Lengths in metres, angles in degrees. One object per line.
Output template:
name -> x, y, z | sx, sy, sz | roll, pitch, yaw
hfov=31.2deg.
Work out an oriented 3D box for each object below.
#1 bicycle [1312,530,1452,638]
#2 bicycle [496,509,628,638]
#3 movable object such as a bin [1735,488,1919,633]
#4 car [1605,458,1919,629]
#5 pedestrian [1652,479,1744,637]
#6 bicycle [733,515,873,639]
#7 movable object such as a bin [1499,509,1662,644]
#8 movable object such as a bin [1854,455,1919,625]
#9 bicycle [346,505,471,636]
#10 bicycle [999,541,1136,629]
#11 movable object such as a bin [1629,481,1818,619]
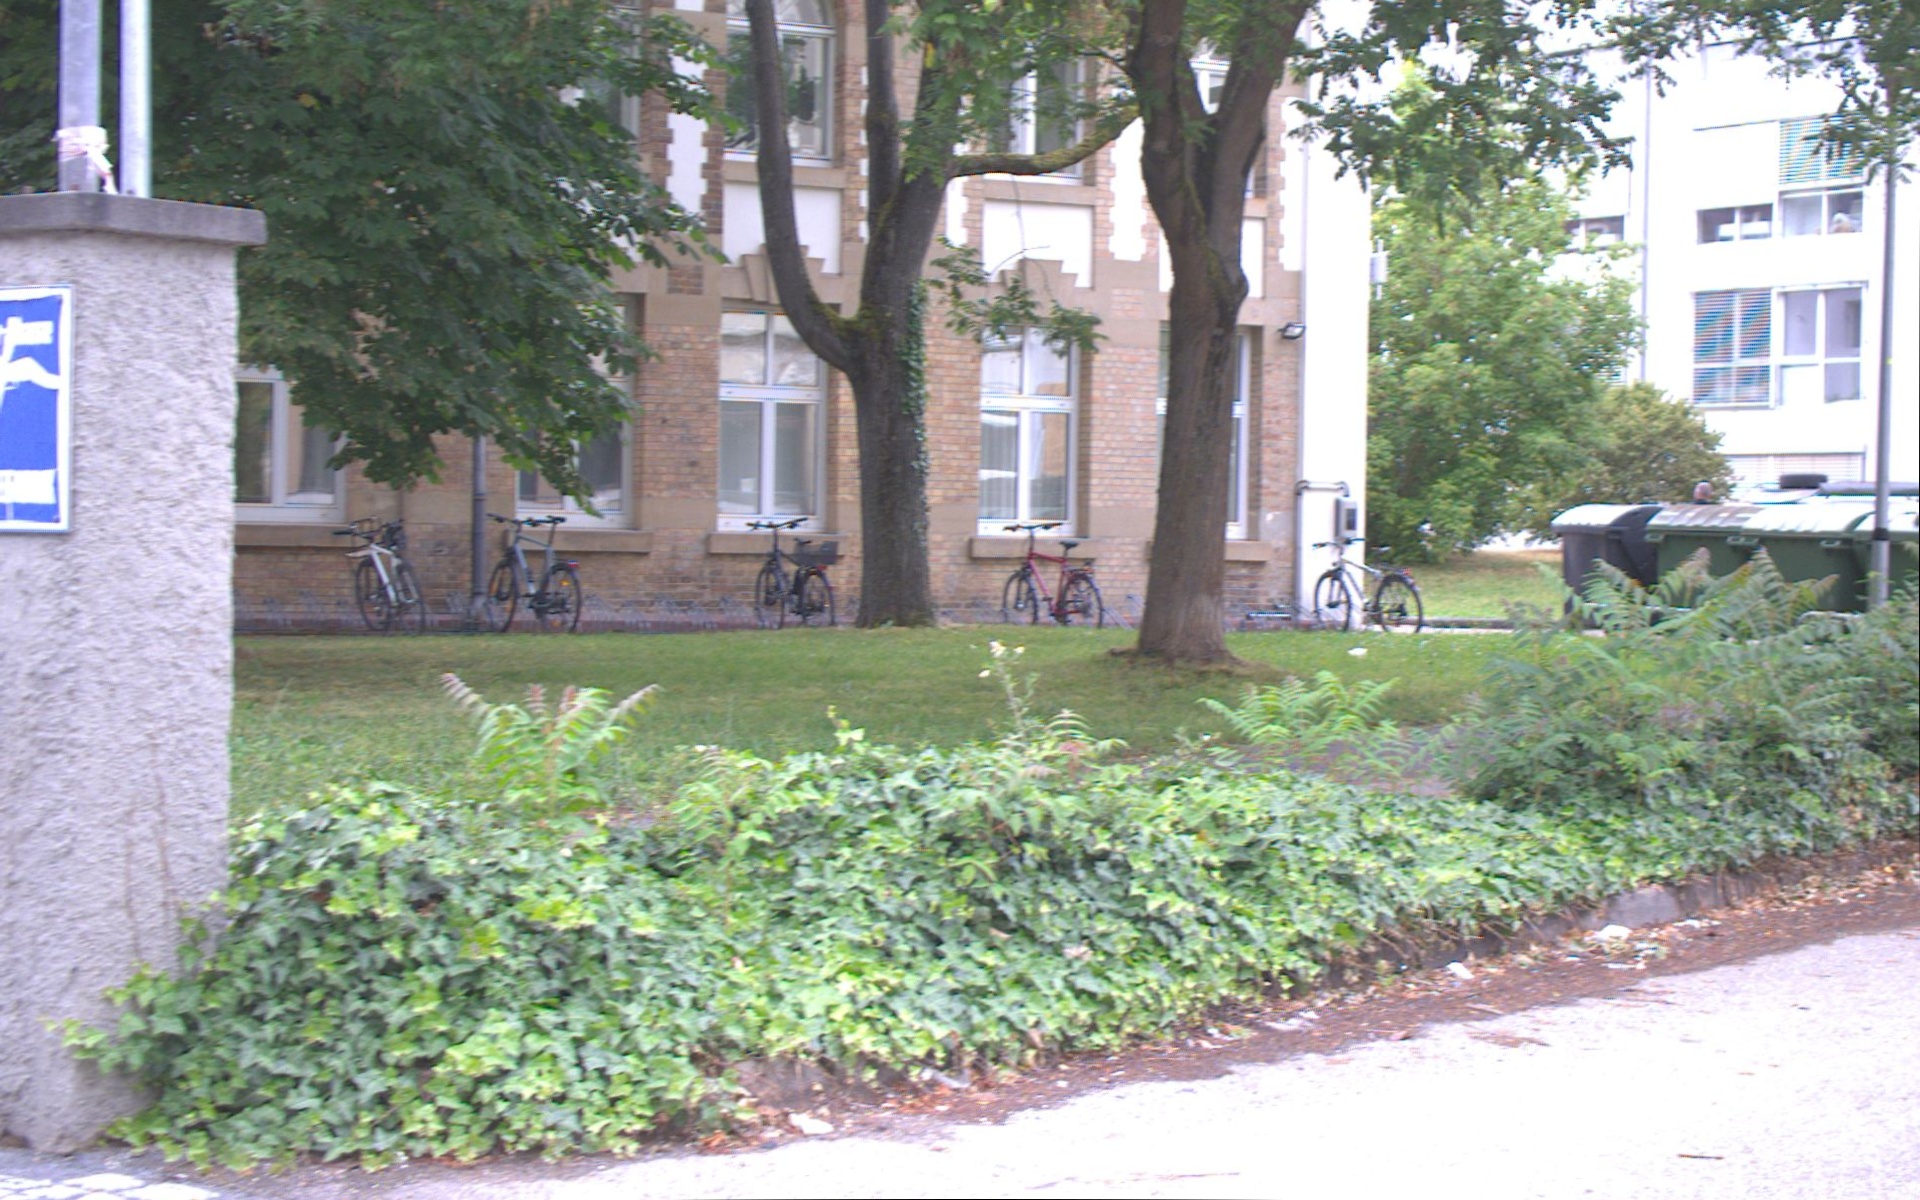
bicycle -> 4.376, -0.175, 35.744 | 0.394, 1.062, 1.829 | 1, 2, -30
bicycle -> -3.647, -0.260, 31.367 | 0.617, 1.116, 2.222 | 0, 2, -22
movable object such as a bin -> 7.865, -0.363, 30.955 | 1.052, 1.260, 1.354 | 0, 2, -34
car -> 10.311, -0.673, 42.826 | 4.337, 2.007, 1.854 | 1, 0, -33
pedestrian -> 8.503, -0.479, 39.618 | 0.754, 1.802, 0.698 | 0, 0, -32
bicycle -> -1.509, -0.231, 32.592 | 0.617, 1.116, 2.222 | 0, 2, -22
movable object such as a bin -> 6.017, -0.237, 33.407 | 1.052, 1.260, 1.354 | 0, 2, -16
movable object such as a bin -> 8.604, -0.505, 29.617 | 1.052, 1.451, 1.354 | 1, 1, -34
bicycle -> -4.964, -0.279, 30.820 | 0.617, 1.116, 2.222 | 0, 2, -22
bicycle -> 1.046, -0.162, 33.980 | 0.617, 0.811, 1.945 | 0, 2, -22
movable object such as a bin -> 7.165, -0.477, 32.294 | 1.052, 1.260, 1.354 | 0, 2, -37
